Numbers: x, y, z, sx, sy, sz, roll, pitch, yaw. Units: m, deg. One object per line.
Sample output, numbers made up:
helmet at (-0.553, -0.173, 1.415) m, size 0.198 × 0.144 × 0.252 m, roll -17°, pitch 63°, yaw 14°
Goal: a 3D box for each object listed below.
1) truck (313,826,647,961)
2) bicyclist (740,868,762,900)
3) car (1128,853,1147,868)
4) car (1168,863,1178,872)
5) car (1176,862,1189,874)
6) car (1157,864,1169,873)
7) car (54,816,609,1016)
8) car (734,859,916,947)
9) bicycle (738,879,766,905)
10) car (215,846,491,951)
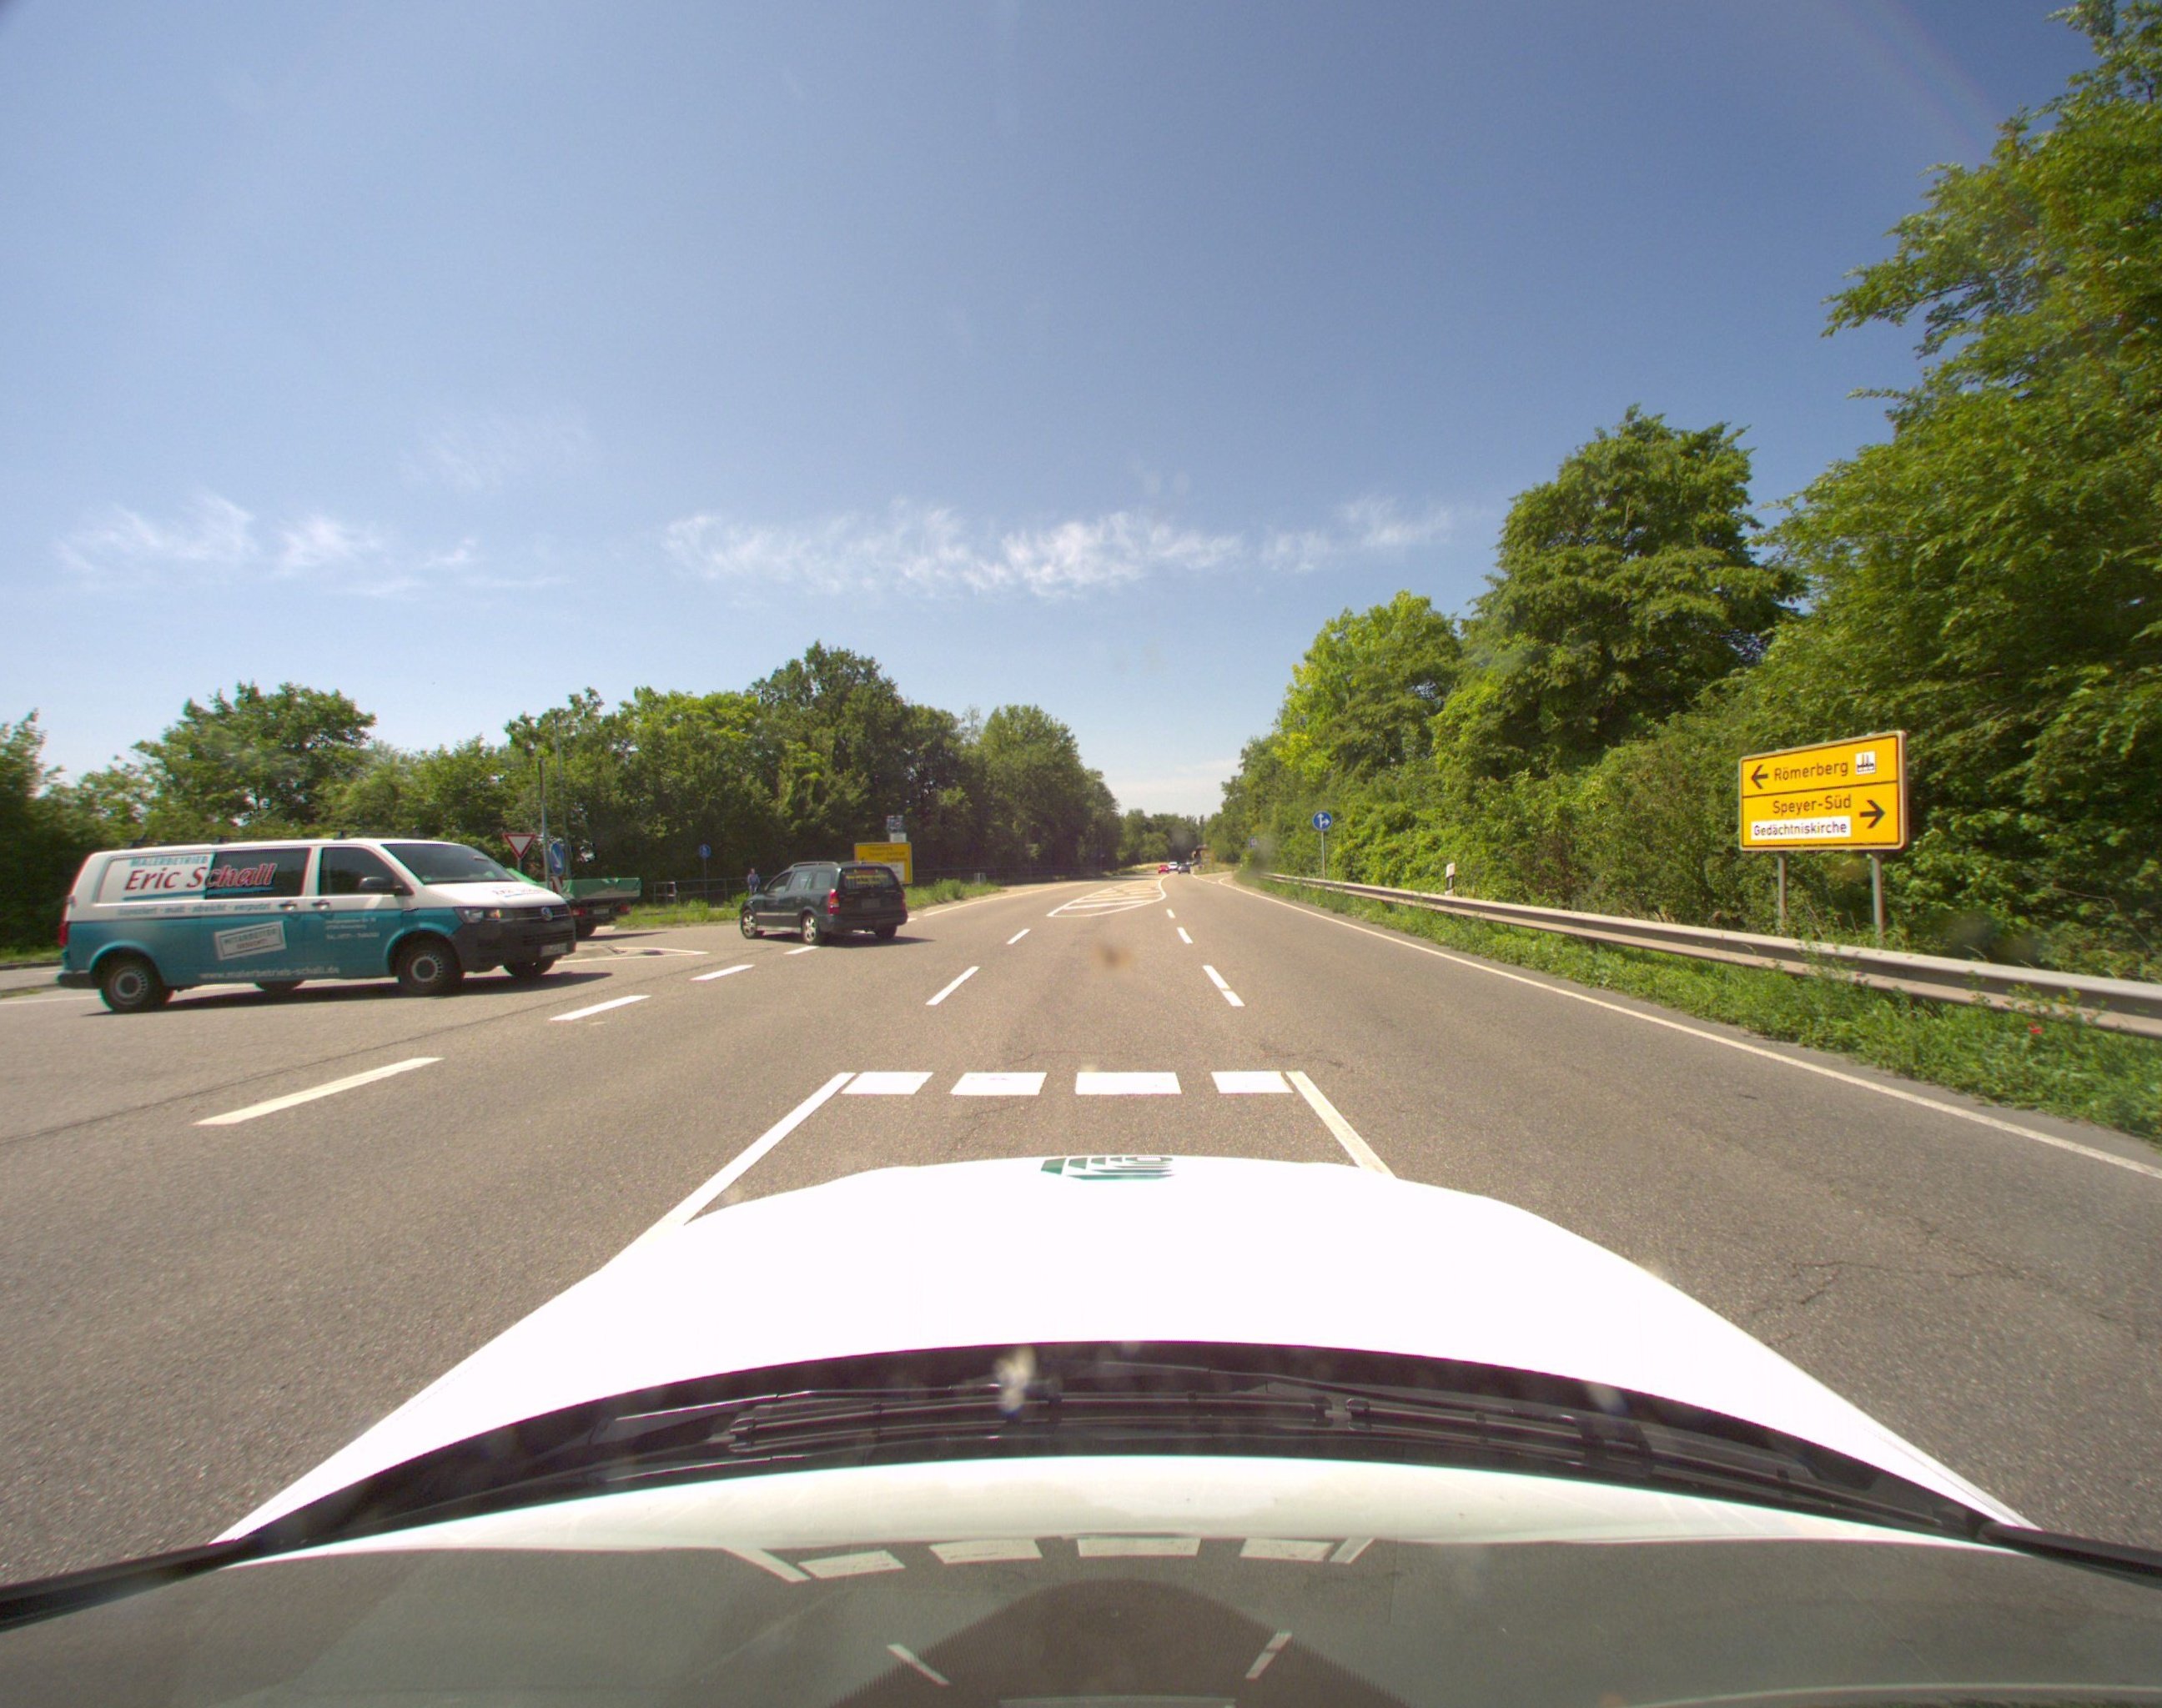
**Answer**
truck at (-13.937, 0.916, 19.031) m, size 6.578 × 2.565 × 2.151 m, roll -4°, pitch -1°, yaw 9°
bicyclist at (-14.764, 1.343, 36.433) m, size 0.601 × 1.363 × 0.694 m, roll -1°, pitch 0°, yaw 37°
car at (12.437, 1.357, 180.248) m, size 2.004 × 3.226 × 4.767 m, roll -1°, pitch 0°, yaw -26°
car at (18.439, 2.705, 163.704) m, size 1.983 × 1.730 × 4.281 m, roll -2°, pitch 0°, yaw 6°
car at (15.416, 2.087, 123.577) m, size 1.834 × 1.684 × 4.007 m, roll -1°, pitch 0°, yaw 6°
car at (13.659, 2.421, 135.314) m, size 1.800 × 1.458 × 3.766 m, roll -1°, pitch -1°, yaw 8°
car at (-9.243, 0.718, 10.405) m, size 5.153 × 2.027 × 2.000 m, roll -3°, pitch 0°, yaw 0°
car at (-5.001, 0.878, 15.677) m, size 3.749 × 1.457 × 1.736 m, roll -2°, pitch -1°, yaw 44°
bicycle at (-14.744, 1.713, 36.438) m, size 1.462 × 1.113 × 0.439 m, roll -2°, pitch -1°, yaw 37°
car at (-21.685, 1.196, 24.711) m, size 6.041 × 2.850 × 2.088 m, roll 0°, pitch -1°, yaw -39°
